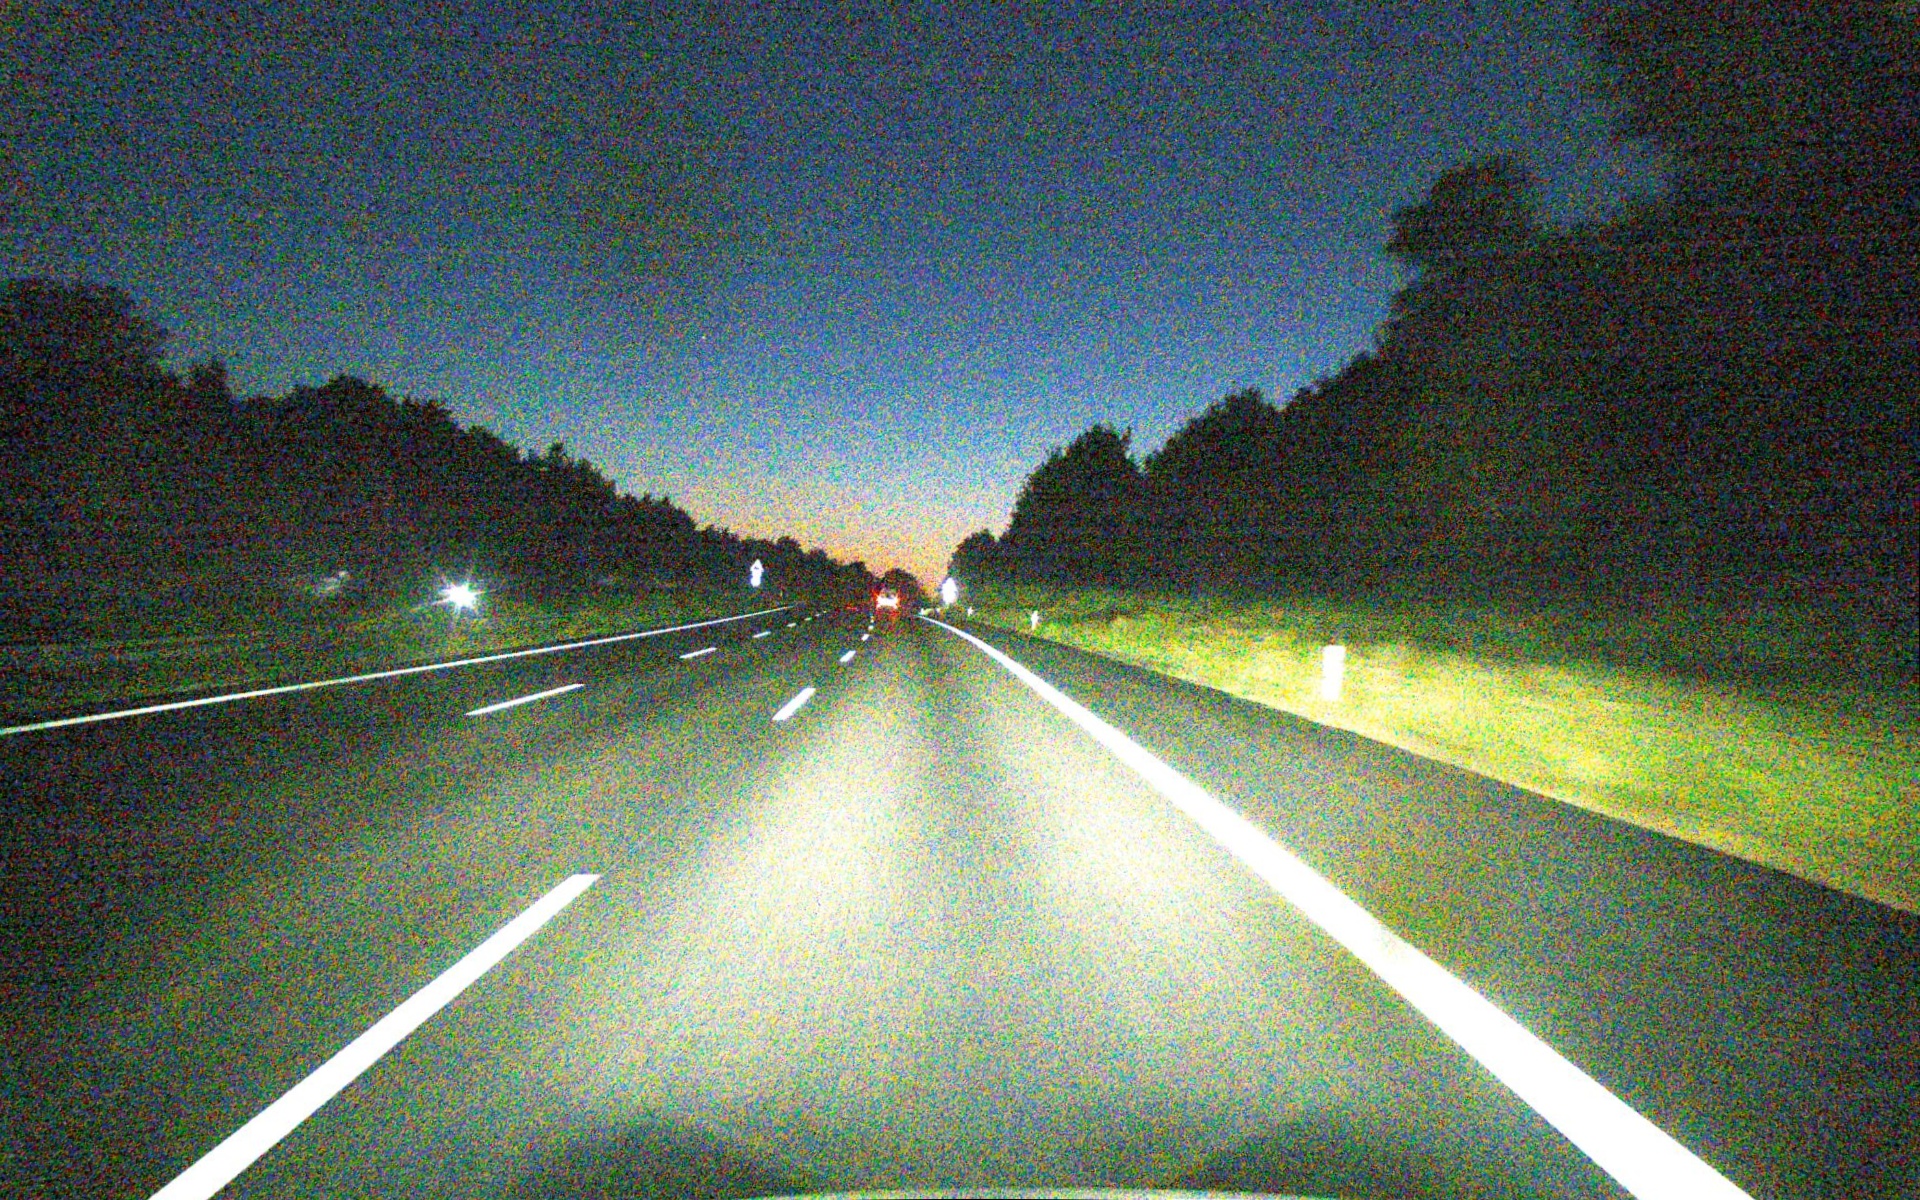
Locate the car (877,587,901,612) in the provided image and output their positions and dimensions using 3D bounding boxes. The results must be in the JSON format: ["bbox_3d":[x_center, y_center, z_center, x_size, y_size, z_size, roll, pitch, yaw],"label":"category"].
[{"bbox_3d":[-7.987,-0.074,185.820,2.477,2.597,6.049,3,0,-1],"label":"car"}]
